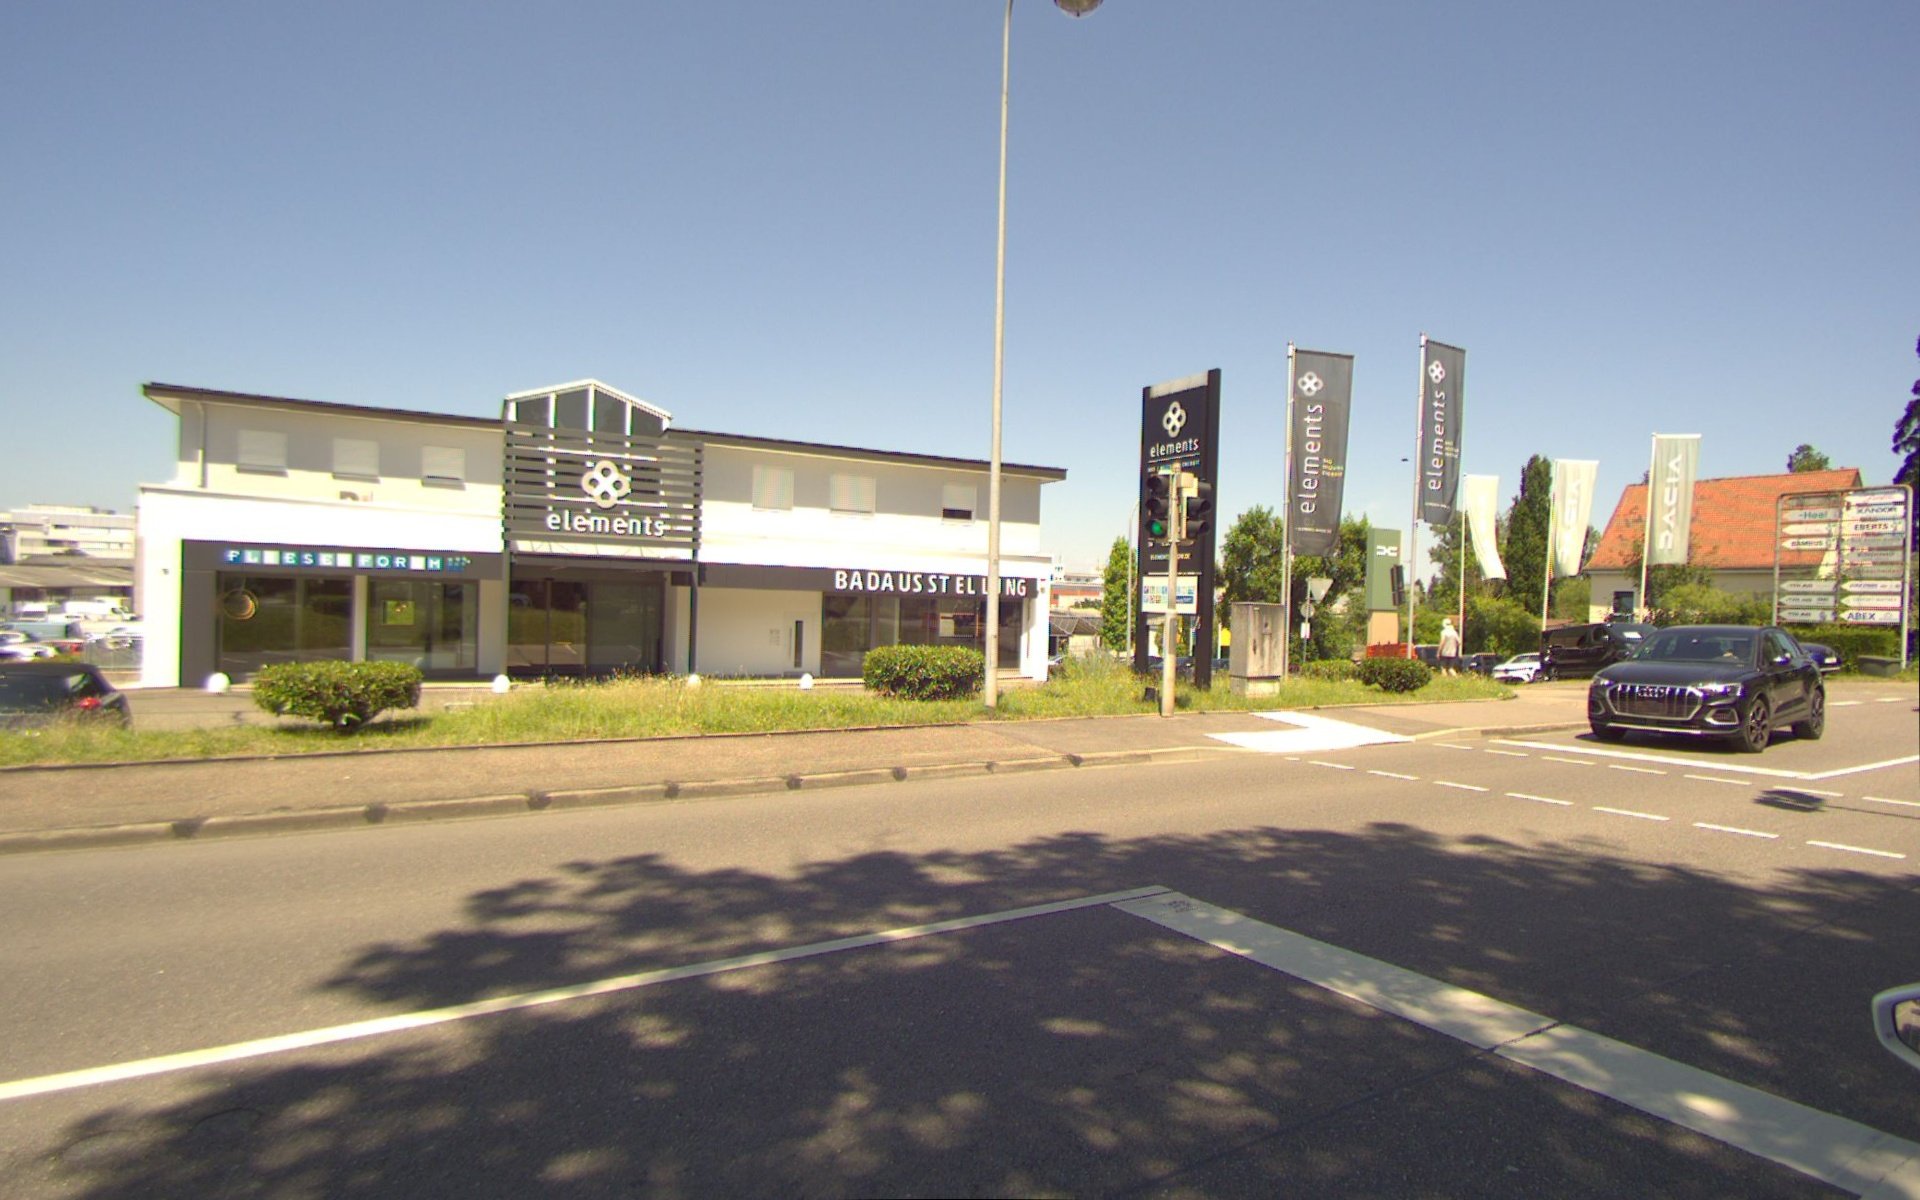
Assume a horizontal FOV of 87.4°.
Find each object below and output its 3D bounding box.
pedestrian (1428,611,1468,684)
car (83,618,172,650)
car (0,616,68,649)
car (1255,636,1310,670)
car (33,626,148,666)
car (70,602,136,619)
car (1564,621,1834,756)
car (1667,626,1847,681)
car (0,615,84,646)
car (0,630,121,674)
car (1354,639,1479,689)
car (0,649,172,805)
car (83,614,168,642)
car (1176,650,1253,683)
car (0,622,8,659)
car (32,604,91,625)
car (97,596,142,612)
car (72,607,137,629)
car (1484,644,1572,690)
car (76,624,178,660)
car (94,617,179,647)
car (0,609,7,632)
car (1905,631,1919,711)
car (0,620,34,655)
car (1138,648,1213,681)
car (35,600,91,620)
[{"bbox_3d":[12.057,1.166,24.848,0.689,1.785,0.545,1,0,-4],"label":"pedestrian"},{"bbox_3d":[-49.158,2.010,59.410,3.726,1.778,1.719,2,-1,-28],"label":"car"},{"bbox_3d":[-53.458,1.856,57.094,3.726,1.778,1.719,2,-1,-28],"label":"car"},{"bbox_3d":[18.526,3.019,57.609,1.785,1.744,4.075,2,0,36],"label":"car"},{"bbox_3d":[-40.817,2.173,47.275,3.726,1.778,1.719,2,-1,-28],"label":"car"},{"bbox_3d":[-95.881,1.180,112.432,5.236,1.778,2.051,2,-1,-28],"label":"car"},{"bbox_3d":[10.418,1.134,14.063,4.263,1.576,1.912,2,-1,-37],"label":"car"},{"bbox_3d":[24.923,1.637,31.597,1.751,1.524,4.129,2,-1,-20],"label":"car"},{"bbox_3d":[-54.862,1.829,59.800,3.726,1.778,1.719,2,-1,-28],"label":"car"},{"bbox_3d":[-39.032,2.253,43.576,3.726,1.778,1.719,2,-1,-28],"label":"car"},{"bbox_3d":[17.178,2.408,37.840,4.022,1.744,1.808,2,0,-16],"label":"car"},{"bbox_3d":[-11.753,1.482,12.764,1.746,1.553,4.076,2,-1,-24],"label":"car"},{"bbox_3d":[-55.238,1.852,66.609,4.004,1.778,1.719,2,-1,-28],"label":"car"},{"bbox_3d":[12.155,3.150,47.841,3.837,1.434,1.634,2,-1,-40],"label":"car"},{"bbox_3d":[-49.222,1.963,48.960,3.726,1.778,1.719,2,-1,-28],"label":"car"},{"bbox_3d":[-83.910,1.359,93.859,3.726,1.778,1.719,2,-1,-28],"label":"car"},{"bbox_3d":[-100.019,0.484,119.590,3.726,1.778,1.719,2,-1,-28],"label":"car"},{"bbox_3d":[-71.041,1.510,83.495,3.726,1.778,1.720,2,-3,-28],"label":"car"},{"bbox_3d":[23.882,2.776,42.206,4.053,1.744,1.795,2,0,-38],"label":"car"},{"bbox_3d":[-43.076,2.168,52.064,3.726,1.778,1.719,2,-1,-28],"label":"car"},{"bbox_3d":[-50.721,1.979,61.942,3.726,1.778,1.719,2,-1,-28],"label":"car"},{"bbox_3d":[-74.831,1.513,75.848,3.726,1.778,1.719,2,0,-28],"label":"car"},{"bbox_3d":[20.546,1.419,19.879,4.011,1.527,1.857,2,-1,-34],"label":"car"},{"bbox_3d":[-51.443,1.967,52.783,3.726,1.778,1.719,2,-1,-28],"label":"car"},{"bbox_3d":[10.764,3.186,50.056,3.973,1.506,1.735,2,-1,-44],"label":"car"},{"bbox_3d":[-88.196,0.999,98.765,3.726,1.778,1.719,3,-1,-28],"label":"car"}]
